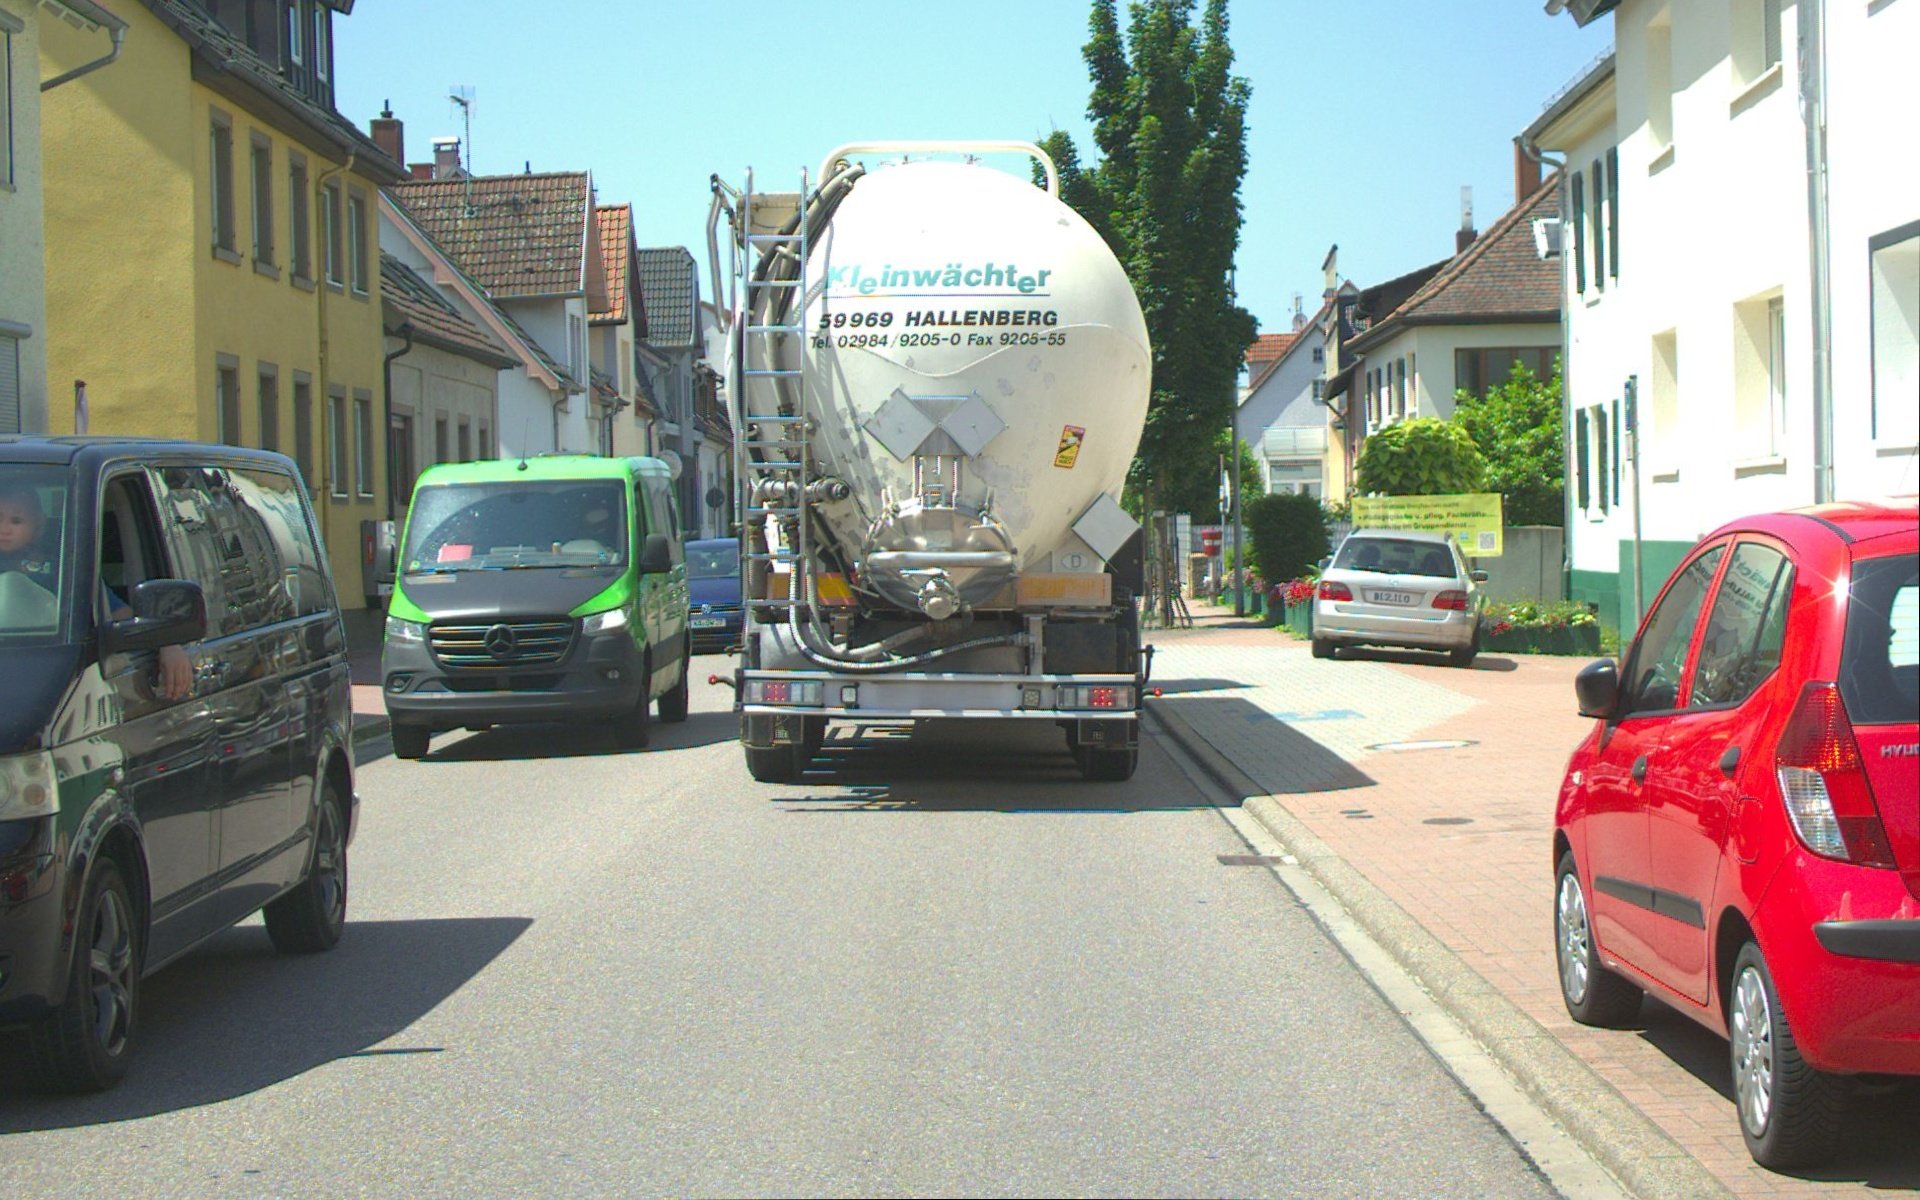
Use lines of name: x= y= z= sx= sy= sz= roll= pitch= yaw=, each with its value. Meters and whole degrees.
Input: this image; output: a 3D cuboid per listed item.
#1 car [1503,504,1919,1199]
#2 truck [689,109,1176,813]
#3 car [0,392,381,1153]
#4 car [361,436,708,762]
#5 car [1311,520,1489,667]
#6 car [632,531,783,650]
car: x=2.561 y=0.513 z=9.200 sx=1.610 sy=1.523 sz=3.677 roll=-2 pitch=1 yaw=0
truck: x=-0.215 y=-0.830 z=23.380 sx=2.732 sy=3.946 sz=8.142 roll=0 pitch=1 yaw=-1
car: x=-3.304 y=0.425 z=11.314 sx=1.881 sy=1.937 sz=5.118 roll=-2 pitch=1 yaw=0
car: x=-3.377 y=-0.077 z=28.534 sx=2.051 sy=2.345 sz=6.082 roll=-2 pitch=1 yaw=0
car: x=5.132 y=-0.130 z=39.624 sx=1.815 sy=1.457 sz=4.883 roll=3 pitch=2 yaw=9
car: x=-3.527 y=-0.166 z=48.640 sx=1.765 sy=1.531 sz=4.078 roll=-3 pitch=1 yaw=0
